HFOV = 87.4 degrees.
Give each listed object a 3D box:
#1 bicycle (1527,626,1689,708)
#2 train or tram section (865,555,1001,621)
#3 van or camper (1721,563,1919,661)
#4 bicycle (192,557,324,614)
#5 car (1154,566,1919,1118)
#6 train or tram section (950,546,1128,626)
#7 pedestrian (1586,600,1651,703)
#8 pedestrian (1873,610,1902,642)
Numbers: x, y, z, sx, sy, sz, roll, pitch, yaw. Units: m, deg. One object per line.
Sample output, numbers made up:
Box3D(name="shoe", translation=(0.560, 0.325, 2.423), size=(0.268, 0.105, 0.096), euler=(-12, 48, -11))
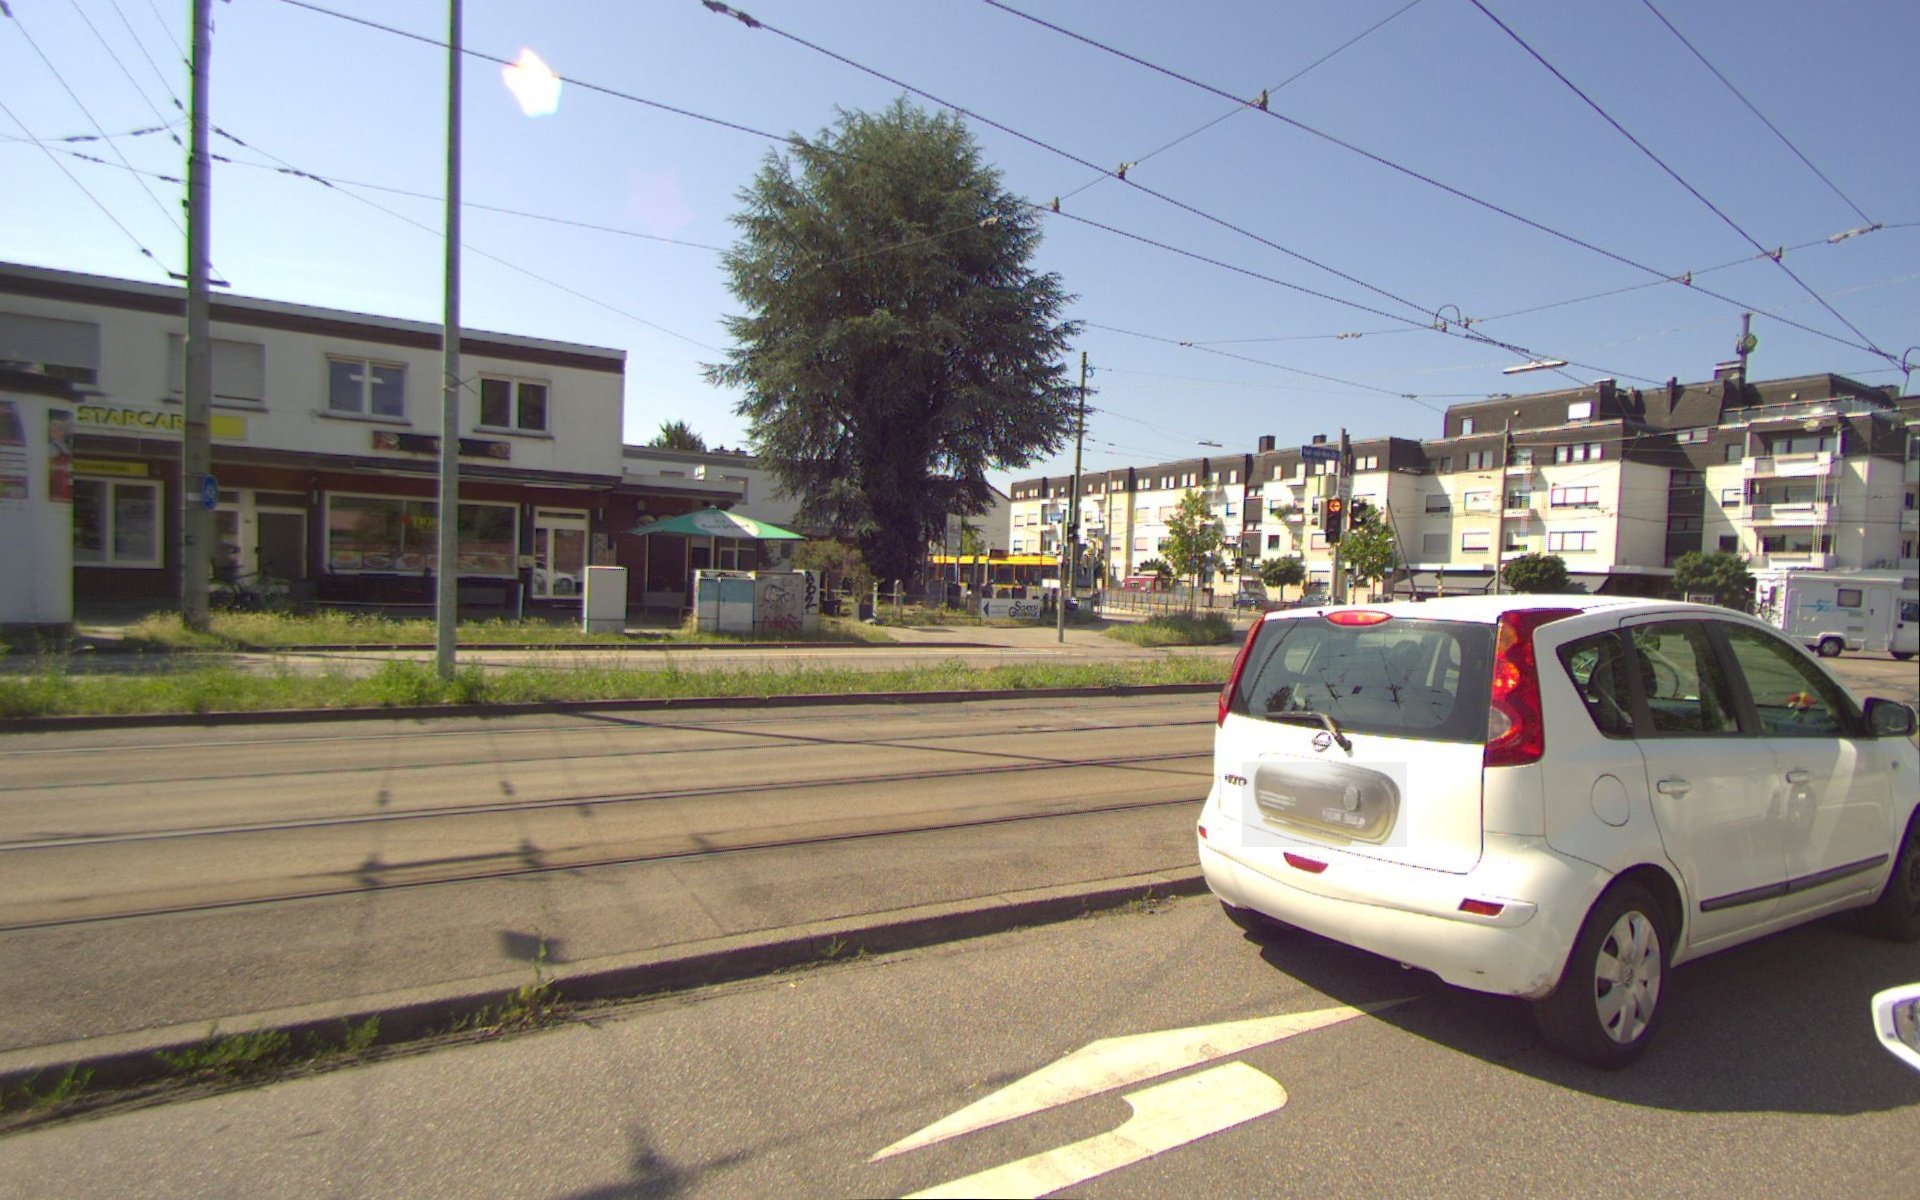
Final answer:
Box3D(name="bicycle", translation=(10.176, 1.015, 15.835), size=(0.705, 1.105, 1.999), euler=(1, 2, -44))
Box3D(name="train or tram section", translation=(-2.783, -0.943, 88.692), size=(4.681, 5.217, 16.122), euler=(2, -1, -30))
Box3D(name="van or camper", translation=(29.948, 0.407, 34.424), size=(5.590, 3.133, 2.576), euler=(2, -1, 20))
Box3D(name="bicycle", translation=(-15.512, -0.292, 22.271), size=(2.306, 1.167, 0.783), euler=(2, -1, -30))
Box3D(name="car", translation=(2.854, 0.703, 4.552), size=(3.759, 1.587, 1.634), euler=(0, 0, -31))
Box3D(name="train or tram section", translation=(5.374, -0.910, 74.786), size=(4.681, 5.217, 16.122), euler=(2, -1, -30))
Box3D(name="pedestrian", translation=(10.597, 0.799, 16.171), size=(0.671, 1.593, 0.738), euler=(-1, 1, -45))
Box3D(name="pedestrian", translation=(51.822, 1.463, 56.133), size=(0.957, 1.766, 0.863), euler=(1, -1, 28))
